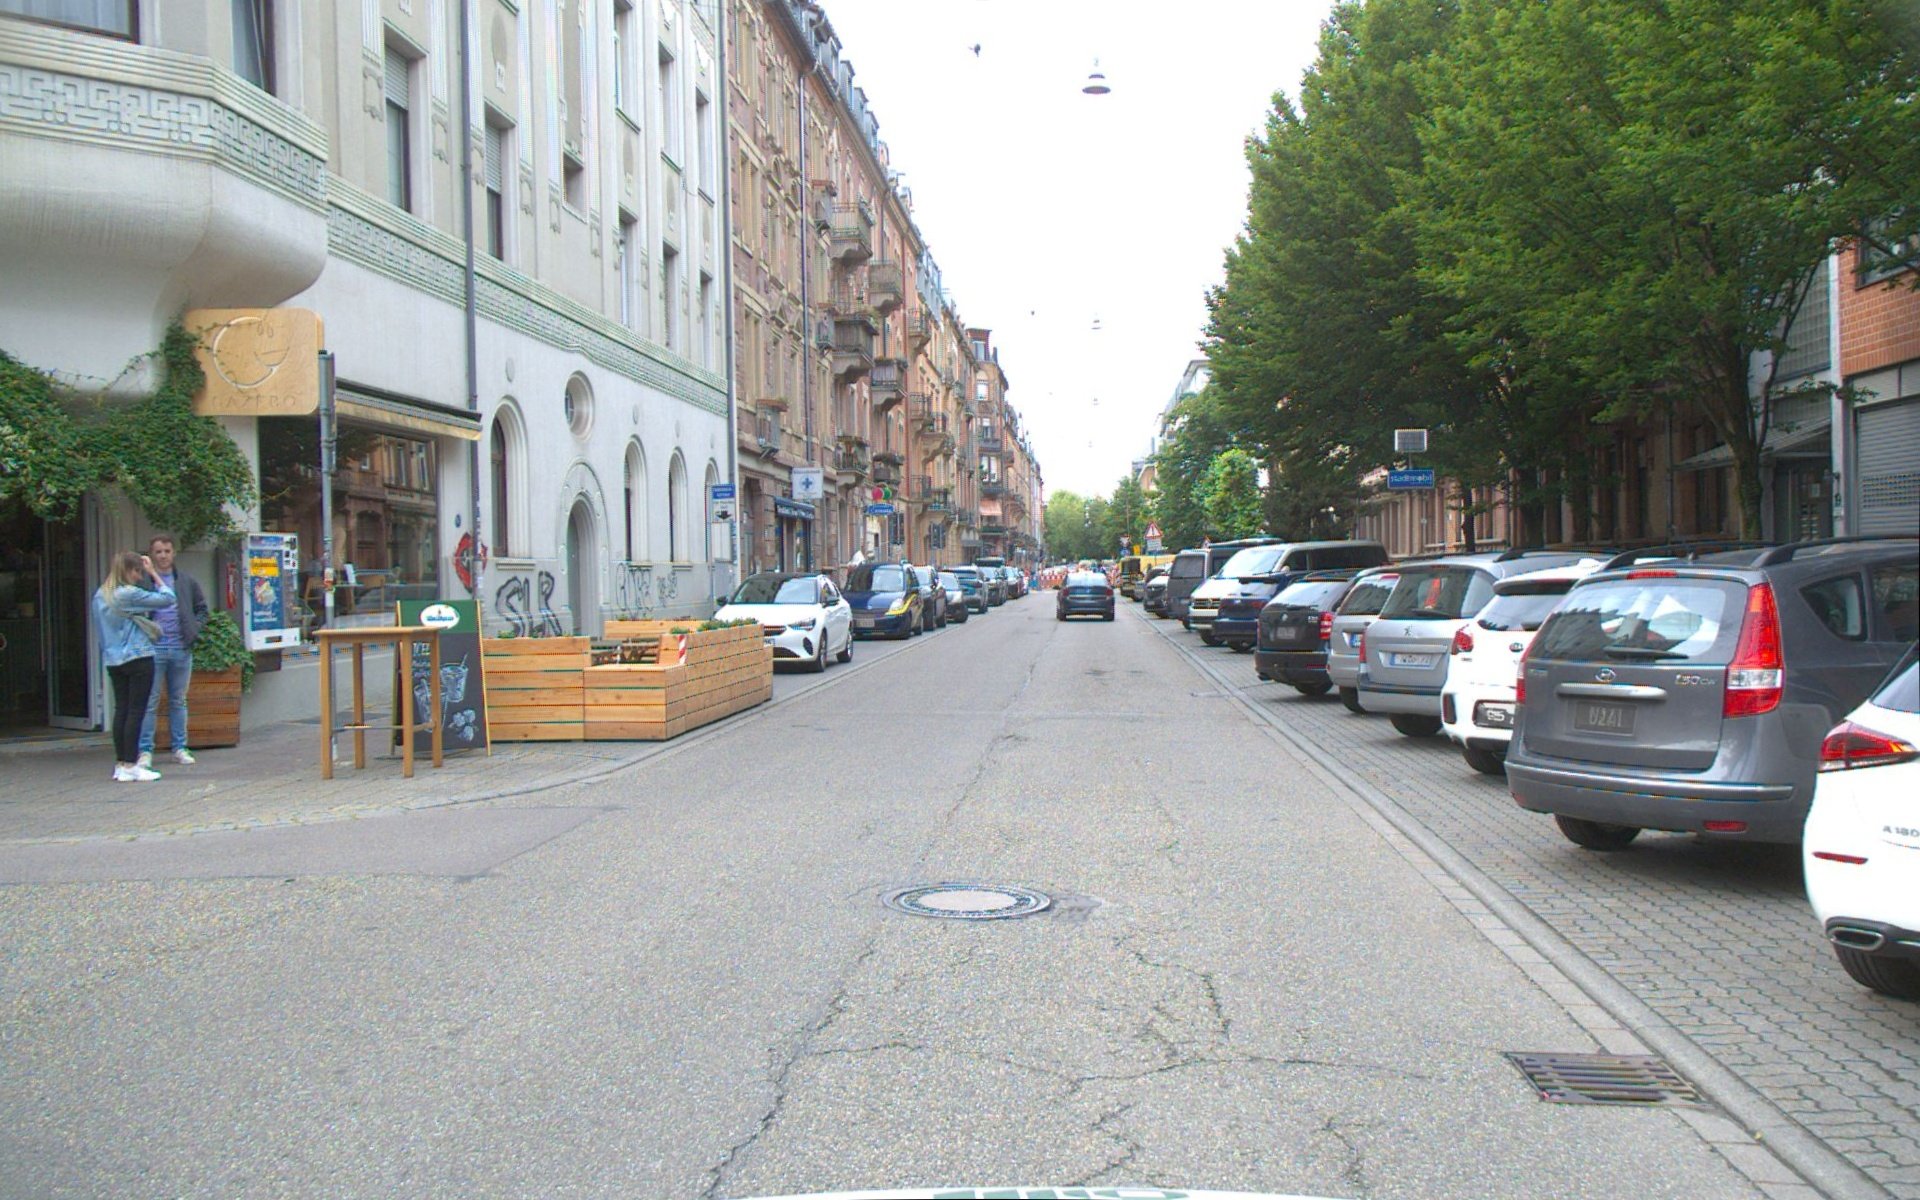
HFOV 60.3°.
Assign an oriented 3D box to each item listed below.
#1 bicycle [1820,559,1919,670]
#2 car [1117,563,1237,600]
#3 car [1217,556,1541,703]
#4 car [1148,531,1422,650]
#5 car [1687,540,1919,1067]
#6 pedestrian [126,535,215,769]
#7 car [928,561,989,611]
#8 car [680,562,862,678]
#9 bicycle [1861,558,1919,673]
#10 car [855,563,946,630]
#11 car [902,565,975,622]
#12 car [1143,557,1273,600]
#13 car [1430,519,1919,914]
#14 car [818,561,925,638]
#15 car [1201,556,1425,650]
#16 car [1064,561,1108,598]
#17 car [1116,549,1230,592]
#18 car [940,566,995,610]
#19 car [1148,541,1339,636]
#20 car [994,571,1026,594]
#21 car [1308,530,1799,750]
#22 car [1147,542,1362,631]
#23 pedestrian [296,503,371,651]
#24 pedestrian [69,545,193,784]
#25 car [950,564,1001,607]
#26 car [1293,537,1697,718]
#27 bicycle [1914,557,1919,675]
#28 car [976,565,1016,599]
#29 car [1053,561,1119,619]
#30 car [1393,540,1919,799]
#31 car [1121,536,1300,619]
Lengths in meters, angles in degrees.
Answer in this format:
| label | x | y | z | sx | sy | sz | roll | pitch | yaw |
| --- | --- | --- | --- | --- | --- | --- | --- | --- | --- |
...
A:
| label | x | y | z | sx | sy | sz | roll | pitch | yaw |
| --- | --- | --- | --- | --- | --- | --- | --- | --- | --- |
| bicycle | 9.873 | 0.144 | 17.026 | 1.716 | 1.111 | 0.565 | -1 | -1 | 4 |
| car | 10.026 | -0.855 | 76.358 | 5.320 | 1.580 | 1.935 | -2 | 1 | -26 |
| car | 5.098 | 0.307 | 19.967 | 3.821 | 1.531 | 1.749 | -3 | 0 | -36 |
| car | 6.665 | -0.225 | 33.674 | 5.549 | 2.164 | 1.931 | -2 | 0 | -30 |
| car | 4.650 | 0.613 | 5.736 | 3.926 | 1.570 | 1.859 | 0 | 1 | -27 |
| pedestrian | -6.128 | 0.392 | 12.838 | 0.572 | 1.765 | 0.500 | 0 | -1 | -32 |
| car | -0.017 | -0.517 | 58.588 | 1.903 | 1.645 | 3.945 | -1 | 1 | 3 |
| car | -2.805 | 0.264 | 25.452 | 1.903 | 1.580 | 3.820 | -2 | 0 | 7 |
| bicycle | 9.858 | 0.140 | 16.202 | 1.716 | 1.111 | 0.565 | -1 | -1 | 4 |
| car | -1.480 | -0.106 | 42.637 | 1.903 | 1.645 | 3.945 | 0 | 1 | 4 |
| car | -0.598 | -0.207 | 49.336 | 1.903 | 1.645 | 3.944 | 0 | 1 | 3 |
| car | 10.578 | -0.922 | 70.598 | 5.320 | 1.580 | 1.934 | -2 | 0 | -26 |
| car | 4.634 | 0.422 | 8.595 | 4.000 | 1.612 | 1.887 | -2 | 0 | -27 |
| car | -1.926 | -0.026 | 37.179 | 1.903 | 1.645 | 3.945 | 0 | 1 | 4 |
| car | 6.469 | 0.042 | 30.252 | 3.811 | 1.531 | 1.753 | -2 | 0 | -30 |
| car | 5.995 | -0.960 | 79.020 | 1.952 | 1.710 | 4.001 | -1 | 0 | 3 |
| car | 10.502 | -1.475 | 81.466 | 5.320 | 1.900 | 1.934 | -2 | 0 | -26 |
| car | 0.329 | -0.463 | 64.034 | 1.903 | 1.645 | 3.944 | 0 | 1 | 3 |
| car | 6.456 | -0.283 | 37.702 | 3.924 | 2.049 | 1.742 | -1 | 1 | -18 |
| car | 3.093 | -1.073 | 103.127 | 1.952 | 1.344 | 4.000 | -1 | 0 | 1 |
| car | 5.199 | 0.280 | 14.433 | 3.999 | 1.612 | 1.756 | -2 | 0 | -27 |
| car | 7.461 | -0.363 | 41.740 | 5.330 | 2.027 | 1.931 | -2 | 0 | -30 |
| pedestrian | -7.054 | -0.251 | 18.613 | 0.734 | 1.621 | 0.613 | 0 | -1 | -26 |
| pedestrian | -6.058 | 0.458 | 12.098 | 0.567 | 1.689 | 0.575 | -1 | -1 | 25 |
| car | 0.691 | -0.608 | 70.657 | 1.903 | 1.772 | 3.945 | 0 | 1 | 4 |
| car | 5.592 | 0.230 | 17.207 | 4.004 | 1.612 | 1.753 | -2 | 0 | -30 |
| bicycle | 9.850 | 0.136 | 15.281 | 1.716 | 1.111 | 0.565 | -1 | -1 | 4 |
| car | 1.943 | -0.972 | 88.227 | 1.903 | 1.768 | 3.945 | -1 | 1 | 4 |
| car | 3.881 | -0.301 | 51.559 | 1.952 | 1.710 | 4.001 | -1 | 0 | 3 |
| car | 5.161 | 0.395 | 11.879 | 4.008 | 1.512 | 1.664 | -3 | 0 | -32 |
| car | 8.008 | -0.736 | 52.919 | 5.301 | 2.415 | 1.941 | -2 | 0 | -17 |
